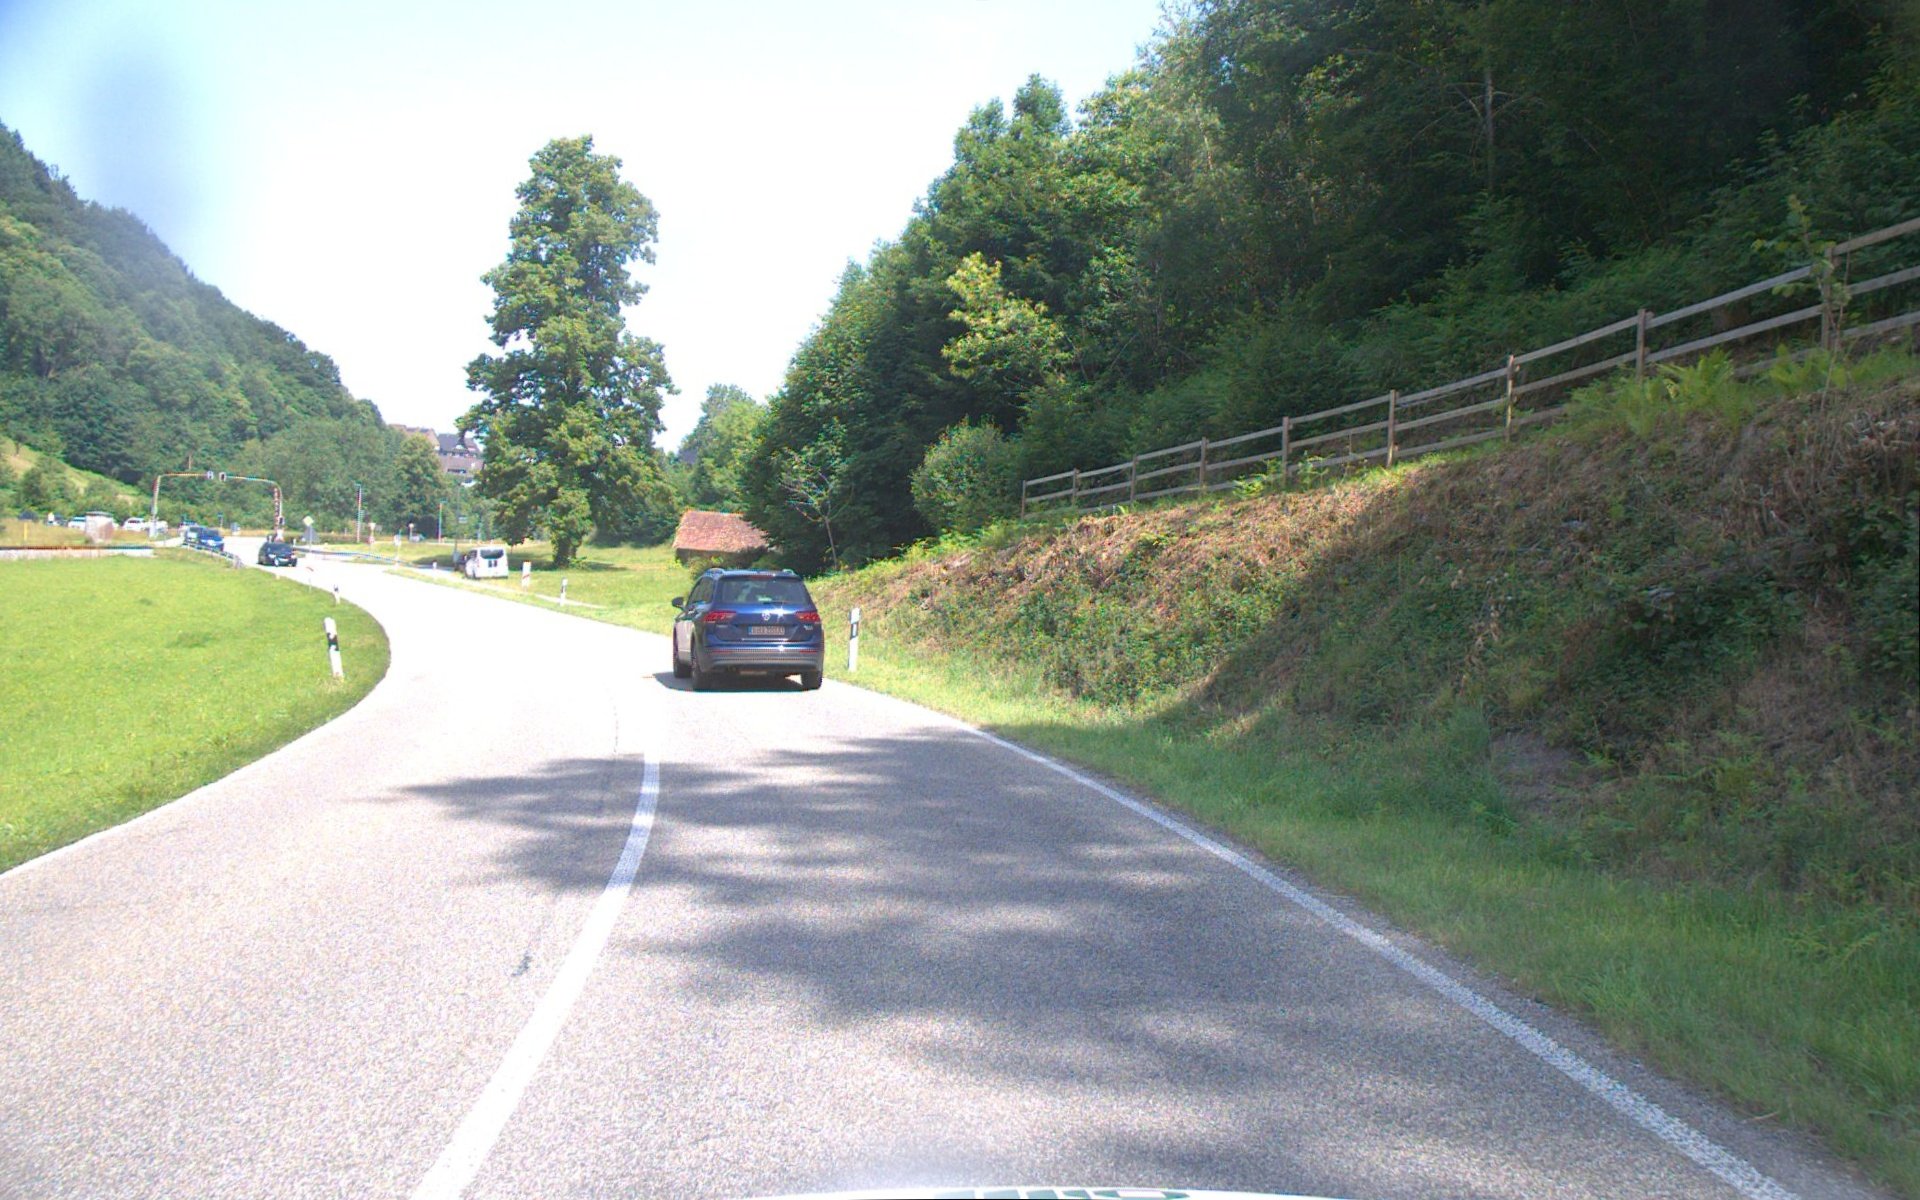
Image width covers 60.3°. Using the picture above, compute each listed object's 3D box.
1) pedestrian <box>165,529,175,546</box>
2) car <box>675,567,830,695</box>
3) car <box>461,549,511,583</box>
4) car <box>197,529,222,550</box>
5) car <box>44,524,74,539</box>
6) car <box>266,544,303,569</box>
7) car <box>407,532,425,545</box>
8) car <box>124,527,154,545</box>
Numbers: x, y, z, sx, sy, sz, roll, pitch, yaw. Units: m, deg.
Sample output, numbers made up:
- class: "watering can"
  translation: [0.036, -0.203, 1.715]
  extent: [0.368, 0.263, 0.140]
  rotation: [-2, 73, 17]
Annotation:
- class: "pedestrian"
  translation: [-85.817, -6.778, 179.606]
  extent: [0.633, 1.891, 0.771]
  rotation: [2, 1, 17]
- class: "car"
  translation: [-3.092, 0.367, 23.956]
  extent: [1.821, 1.678, 4.126]
  rotation: [0, 1, -13]
- class: "car"
  translation: [-28.598, -2.075, 99.705]
  extent: [1.975, 1.880, 4.828]
  rotation: [-4, 4, -26]
- class: "car"
  translation: [-65.480, -5.271, 144.301]
  extent: [1.843, 1.651, 4.474]
  rotation: [3, 1, -26]
- class: "car"
  translation: [-98.786, -7.525, 181.400]
  extent: [1.963, 1.526, 4.499]
  rotation: [4, 1, -18]
- class: "car"
  translation: [-44.169, -2.840, 108.090]
  extent: [1.894, 1.496, 4.472]
  rotation: [1, 2, -27]
- class: "car"
  translation: [-80.798, -9.073, 245.708]
  extent: [1.770, 1.646, 3.993]
  rotation: [3, -1, -8]
- class: "car"
  translation: [-91.445, -7.119, 184.350]
  extent: [1.839, 1.813, 4.757]
  rotation: [3, 1, -13]
